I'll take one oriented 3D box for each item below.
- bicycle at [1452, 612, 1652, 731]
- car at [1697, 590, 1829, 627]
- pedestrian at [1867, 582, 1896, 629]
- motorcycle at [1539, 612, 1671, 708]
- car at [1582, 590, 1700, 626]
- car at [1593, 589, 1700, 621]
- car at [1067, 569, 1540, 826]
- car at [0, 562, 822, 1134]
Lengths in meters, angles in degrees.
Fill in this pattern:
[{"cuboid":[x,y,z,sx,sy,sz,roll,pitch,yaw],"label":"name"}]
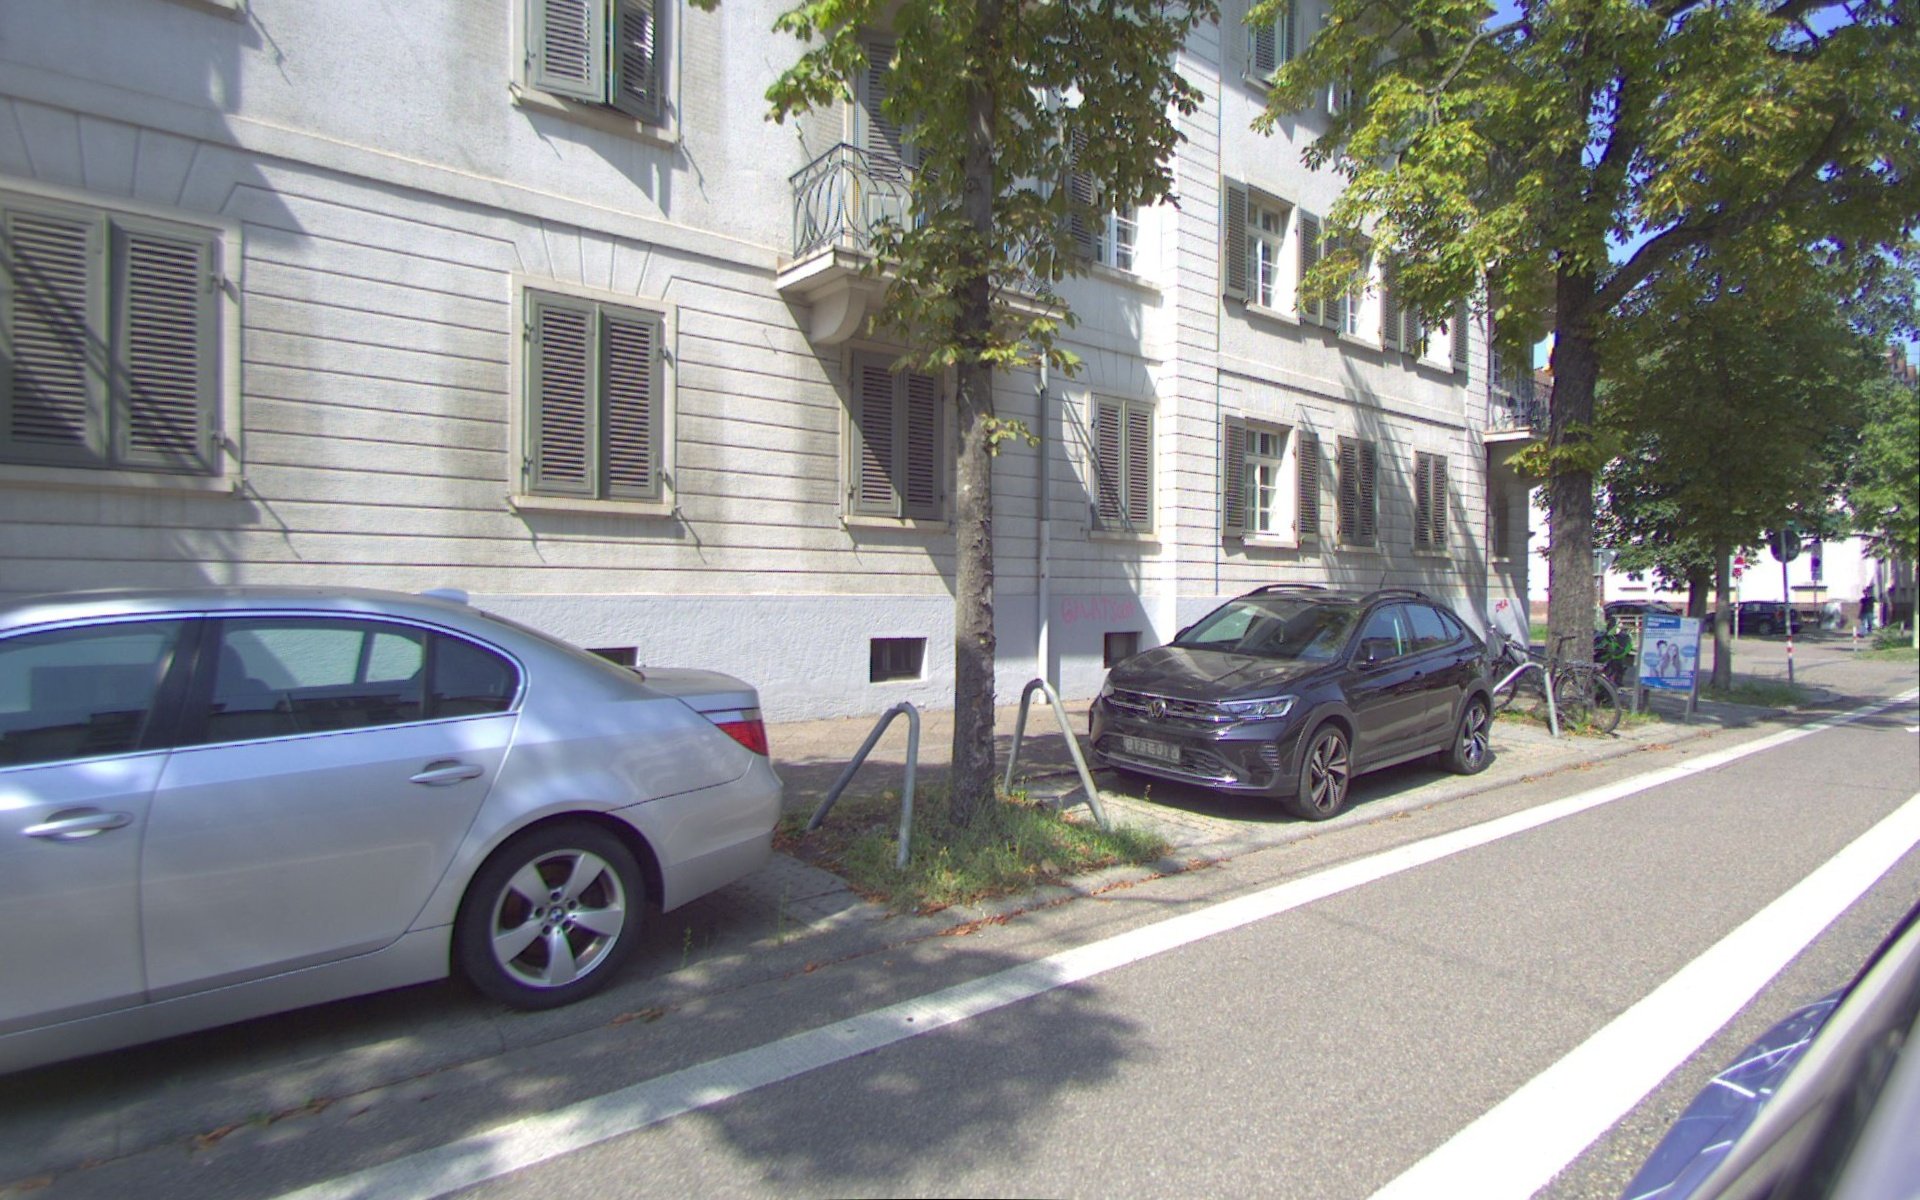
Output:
[{"cuboid":[6.343,0.723,10.921,0.644,1.137,1.759,0,0,-39],"label":"bicycle"},{"cuboid":[34.083,0.320,43.097,1.934,1.461,4.008,0,1,-16],"label":"car"},{"cuboid":[35.519,0.203,39.004,0.620,1.808,0.749,0,0,-38],"label":"pedestrian"},{"cuboid":[8.588,0.741,13.422,2.454,1.125,0.828,0,0,-41],"label":"motorcycle"},{"cuboid":[28.605,0.311,42.645,1.799,1.448,4.008,0,1,-12],"label":"car"},{"cuboid":[32.903,0.229,48.642,1.934,1.457,4.008,0,1,-12],"label":"car"},{"cuboid":[2.937,0.545,8.090,4.358,1.526,1.666,0,1,-42],"label":"car"},{"cuboid":[-2.914,0.612,3.375,4.669,1.468,1.785,0,1,-41],"label":"car"}]
